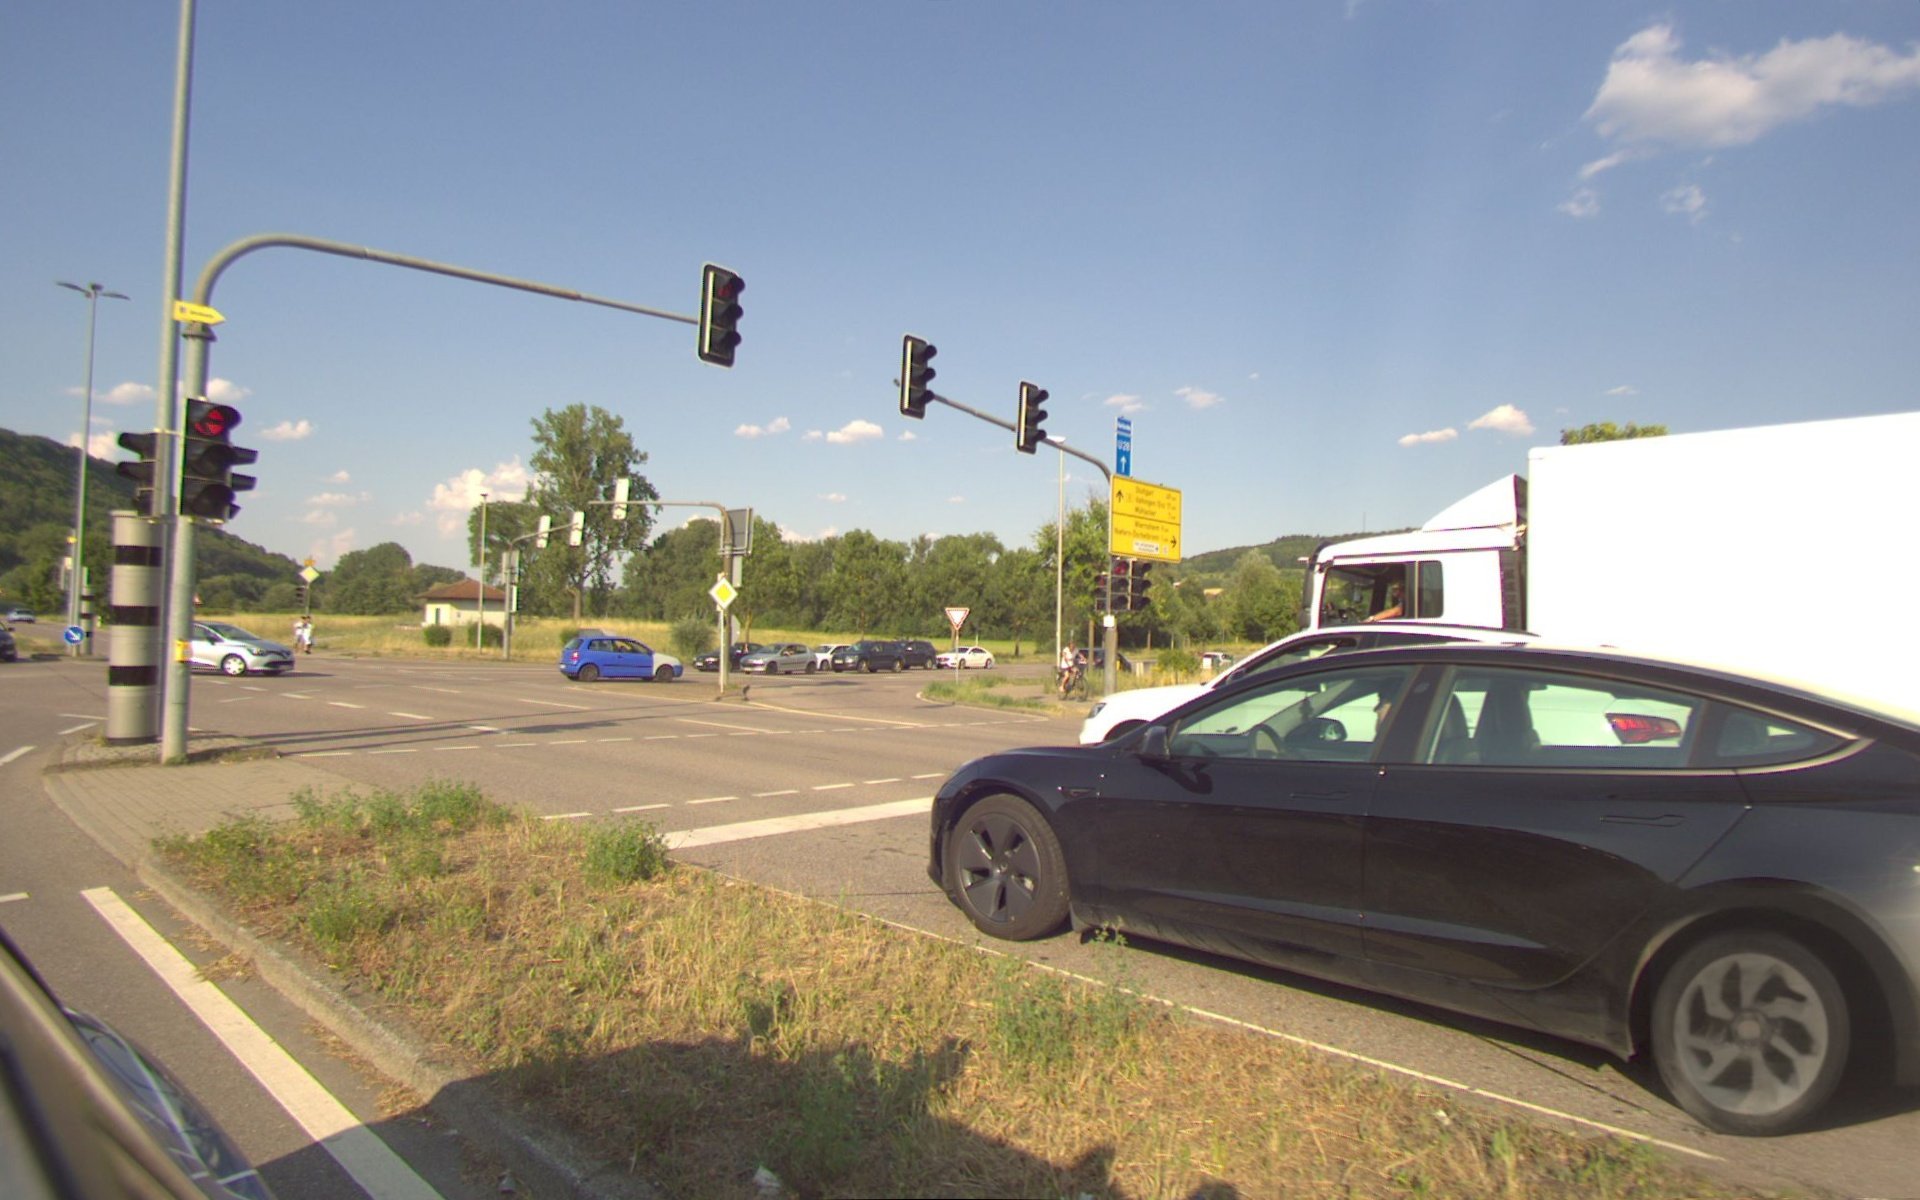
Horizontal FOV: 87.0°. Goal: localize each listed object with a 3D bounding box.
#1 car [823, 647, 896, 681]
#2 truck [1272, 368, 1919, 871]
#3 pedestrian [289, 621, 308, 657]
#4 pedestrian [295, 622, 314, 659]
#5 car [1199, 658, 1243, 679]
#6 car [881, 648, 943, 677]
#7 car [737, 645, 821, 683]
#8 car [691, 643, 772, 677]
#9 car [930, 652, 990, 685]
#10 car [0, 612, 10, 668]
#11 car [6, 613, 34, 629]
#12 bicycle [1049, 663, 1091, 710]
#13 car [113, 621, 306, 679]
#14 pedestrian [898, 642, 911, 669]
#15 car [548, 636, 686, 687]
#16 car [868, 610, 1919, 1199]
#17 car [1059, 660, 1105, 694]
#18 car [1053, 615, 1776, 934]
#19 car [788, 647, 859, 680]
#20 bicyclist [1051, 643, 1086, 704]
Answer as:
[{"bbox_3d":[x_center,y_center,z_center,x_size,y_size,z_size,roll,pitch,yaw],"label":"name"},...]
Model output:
[{"bbox_3d":[-4.876,3.097,49.667,1.759,1.431,3.844,0,0,27],"label":"car"},{"bbox_3d":[8.227,0.226,8.379,10.498,3.718,2.901,0,-4,43],"label":"truck"},{"bbox_3d":[-30.302,1.781,46.358,0.645,1.618,0.839,1,0,-27],"label":"pedestrian"},{"bbox_3d":[-29.551,1.805,45.636,0.645,1.618,0.892,1,0,-27],"label":"pedestrian"},{"bbox_3d":[18.538,4.810,71.853,1.765,1.378,3.703,0,-2,37],"label":"car"},{"bbox_3d":[-2.706,3.560,58.186,1.762,1.431,3.839,0,0,31],"label":"car"},{"bbox_3d":[-7.987,2.787,44.955,1.759,1.431,3.844,0,0,27],"label":"car"},{"bbox_3d":[-10.610,2.763,47.278,1.628,1.370,3.844,0,0,27],"label":"car"},{"bbox_3d":[0.034,4.190,62.618,1.746,1.785,3.951,0,0,36],"label":"car"},{"bbox_3d":[-29.953,1.196,30.650,1.595,1.586,4.002,1,0,-45],"label":"car"},{"bbox_3d":[-94.068,2.049,101.296,4.145,1.445,1.690,0,-3,43],"label":"car"},{"bbox_3d":[2.846,2.230,26.351,0.698,1.047,1.938,0,0,-5],"label":"bicycle"},{"bbox_3d":[-20.532,1.350,27.780,4.136,1.488,1.760,0,-1,5],"label":"car"},{"bbox_3d":[-3.850,3.867,70.588,0.718,1.771,0.691,0,0,18],"label":"pedestrian"},{"bbox_3d":[-10.950,1.955,32.399,3.828,1.511,1.696,3,-3,-36],"label":"car"},{"bbox_3d":[2.002,0.832,4.167,4.925,1.477,1.772,0,-2,40],"label":"car"},{"bbox_3d":[6.849,4.247,56.366,1.908,1.703,4.137,2,-2,15],"label":"car"},{"bbox_3d":[3.275,1.035,7.924,4.804,1.691,1.973,0,-3,41],"label":"car"},{"bbox_3d":[-7.069,3.272,52.769,1.759,1.431,3.844,0,0,27],"label":"car"},{"bbox_3d":[2.826,1.905,26.416,0.713,1.512,0.921,0,0,-5],"label":"bicyclist"}]
